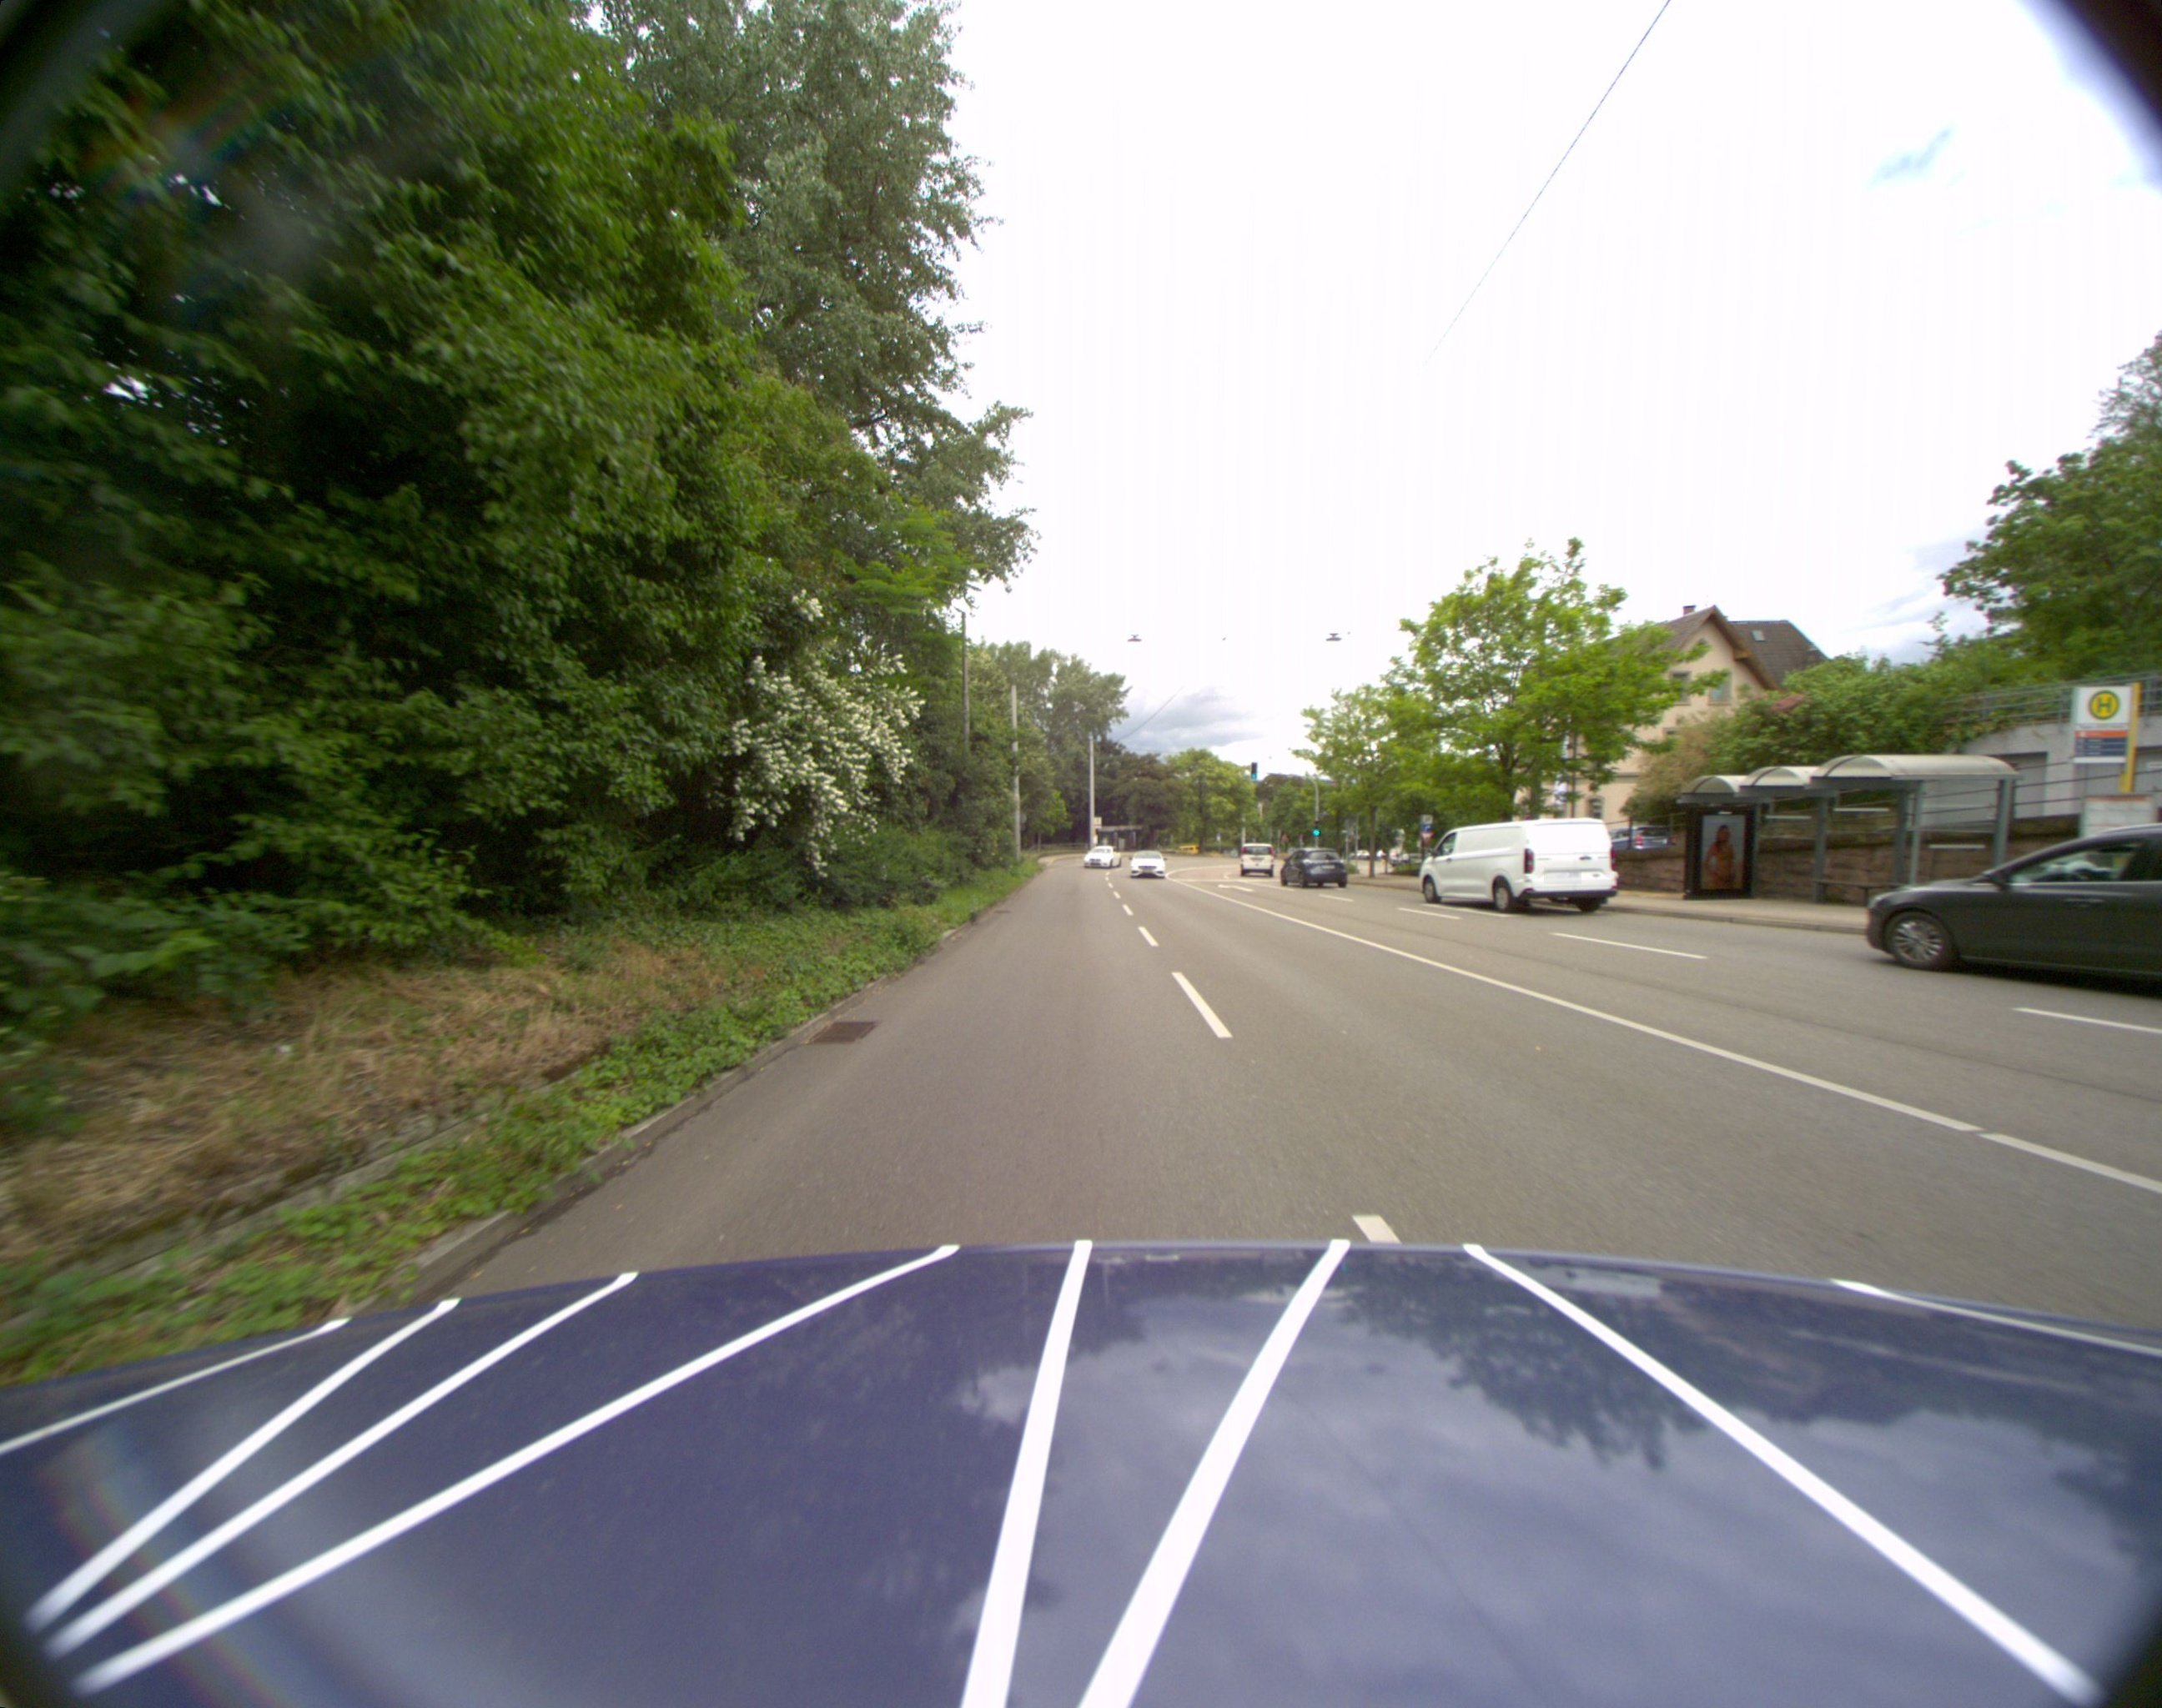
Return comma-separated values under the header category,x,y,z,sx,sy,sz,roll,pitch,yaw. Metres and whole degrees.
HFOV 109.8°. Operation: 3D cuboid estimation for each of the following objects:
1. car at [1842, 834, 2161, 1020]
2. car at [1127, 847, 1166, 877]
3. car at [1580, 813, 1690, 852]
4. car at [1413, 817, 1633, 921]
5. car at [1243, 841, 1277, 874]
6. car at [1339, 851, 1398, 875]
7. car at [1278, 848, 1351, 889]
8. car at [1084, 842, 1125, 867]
category,x,y,z,sx,sy,sz,roll,pitch,yaw
car,9.509,0.573,6.382,1.661,1.464,4.612,-2,0,2
car,3.592,0.384,40.906,1.915,1.470,4.528,1,1,7
car,22.020,-0.827,30.384,1.709,1.413,3.634,2,1,0
car,9.873,0.306,17.657,1.998,2.002,5.425,-2,0,1
car,10.590,0.189,44.832,1.796,1.853,4.855,1,1,14
car,18.143,0.555,47.979,3.132,1.464,1.548,1,1,1
car,9.139,0.517,30.014,1.698,1.483,3.801,-1,0,0
car,1.696,-0.002,52.628,1.914,1.543,4.530,2,2,14
